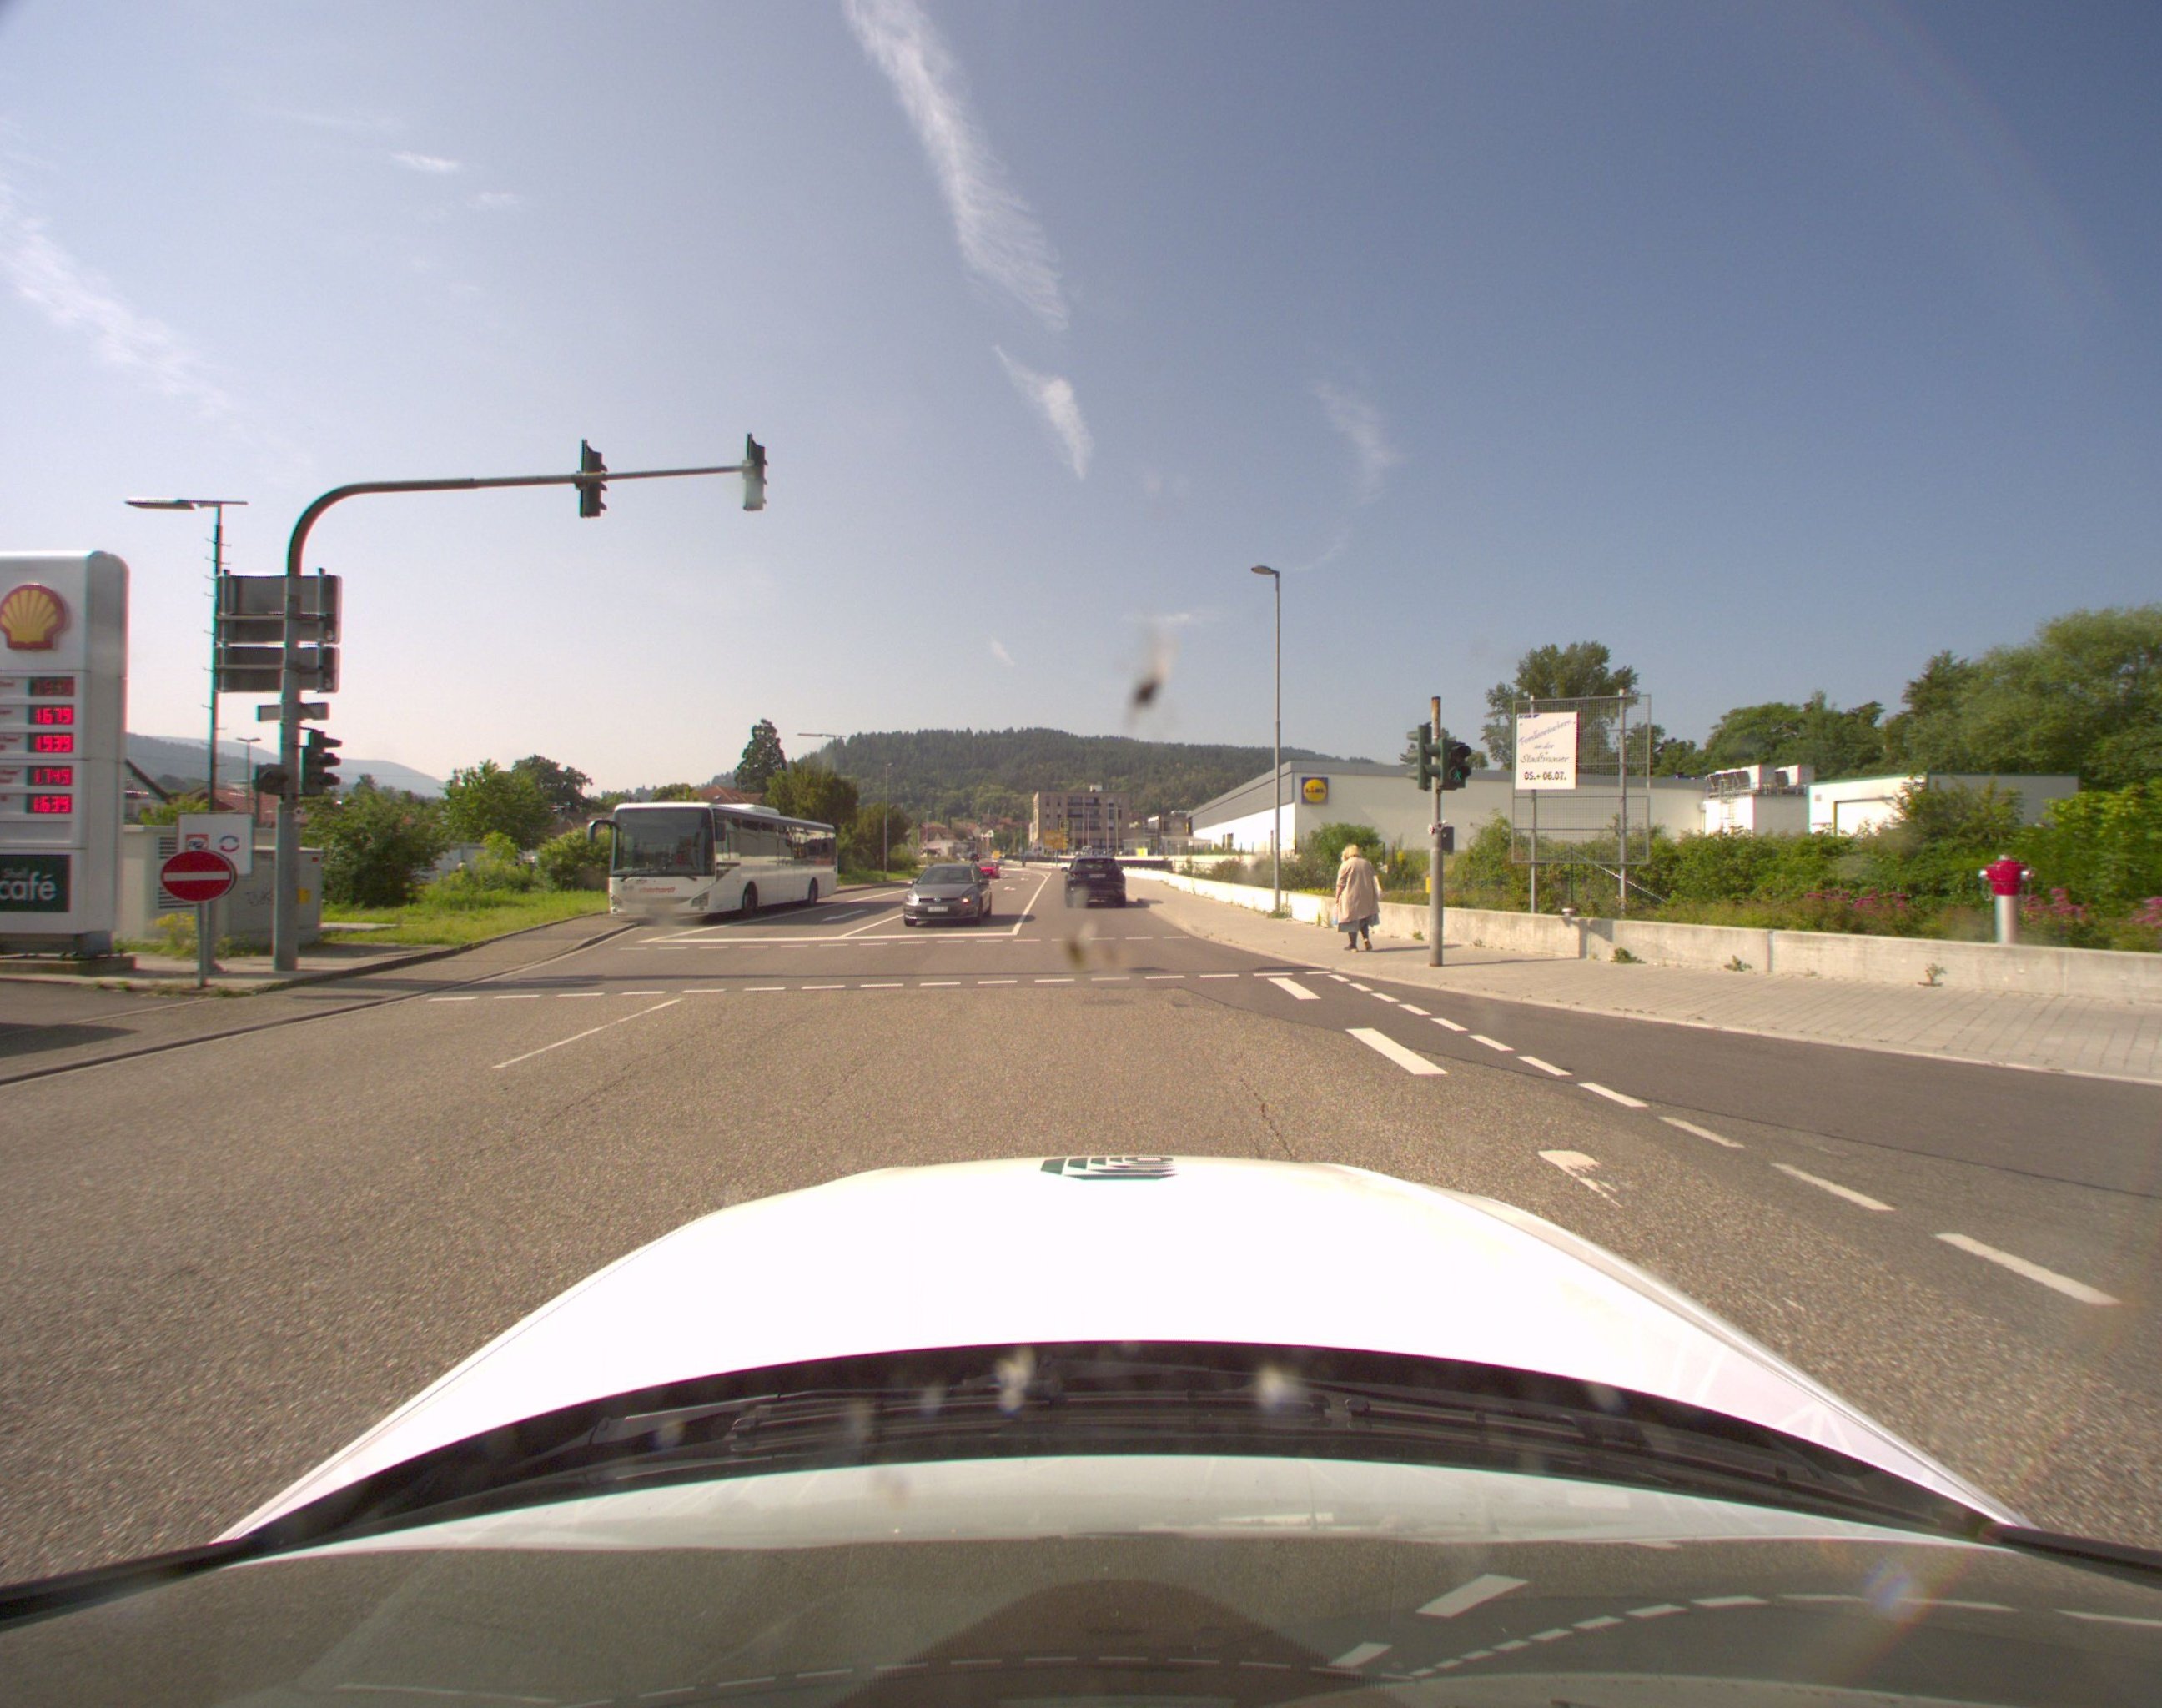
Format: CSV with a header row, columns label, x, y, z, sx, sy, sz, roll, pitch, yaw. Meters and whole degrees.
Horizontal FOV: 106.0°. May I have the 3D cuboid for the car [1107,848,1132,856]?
label,x,y,z,sx,sy,sz,roll,pitch,yaw
car,6.486,-0.349,136.680,4.076,1.404,1.476,0,0,-21

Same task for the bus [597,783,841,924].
label,x,y,z,sx,sy,sz,roll,pitch,yaw
bus,-10.344,0.029,25.308,2.614,3.310,11.946,-1,0,-2

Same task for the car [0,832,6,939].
label,x,y,z,sx,sy,sz,roll,pitch,yaw
car,-12.244,0.587,7.018,3.760,1.795,1.703,3,0,3

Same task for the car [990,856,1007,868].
label,x,y,z,sx,sy,sz,roll,pitch,yaw
car,-13.939,1.305,137.568,2.001,2.014,3.972,0,-1,-21

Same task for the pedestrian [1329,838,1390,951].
label,x,y,z,sx,sy,sz,roll,pitch,yaw
pedestrian,4.237,0.606,12.439,0.708,1.671,0.593,-1,-1,-1

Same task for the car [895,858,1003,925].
label,x,y,z,sx,sy,sz,roll,pitch,yaw
car,-3.122,0.844,20.125,1.765,1.473,4.222,-1,0,3

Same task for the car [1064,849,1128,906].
label,x,y,z,sx,sy,sz,roll,pitch,yaw
car,0.563,0.723,26.471,1.873,1.684,4.004,-1,0,4

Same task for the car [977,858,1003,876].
label,x,y,z,sx,sy,sz,roll,pitch,yaw
car,-7.713,1.082,68.975,1.833,1.492,4.428,-1,0,-2

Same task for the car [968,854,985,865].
label,x,y,z,sx,sy,sz,roll,pitch,yaw
car,-19.189,1.027,150.151,1.981,2.014,4.011,-1,0,10

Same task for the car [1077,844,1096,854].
label,x,y,z,sx,sy,sz,roll,pitch,yaw
car,1.118,-1.073,170.106,3.973,2.136,2.000,-1,-1,1
